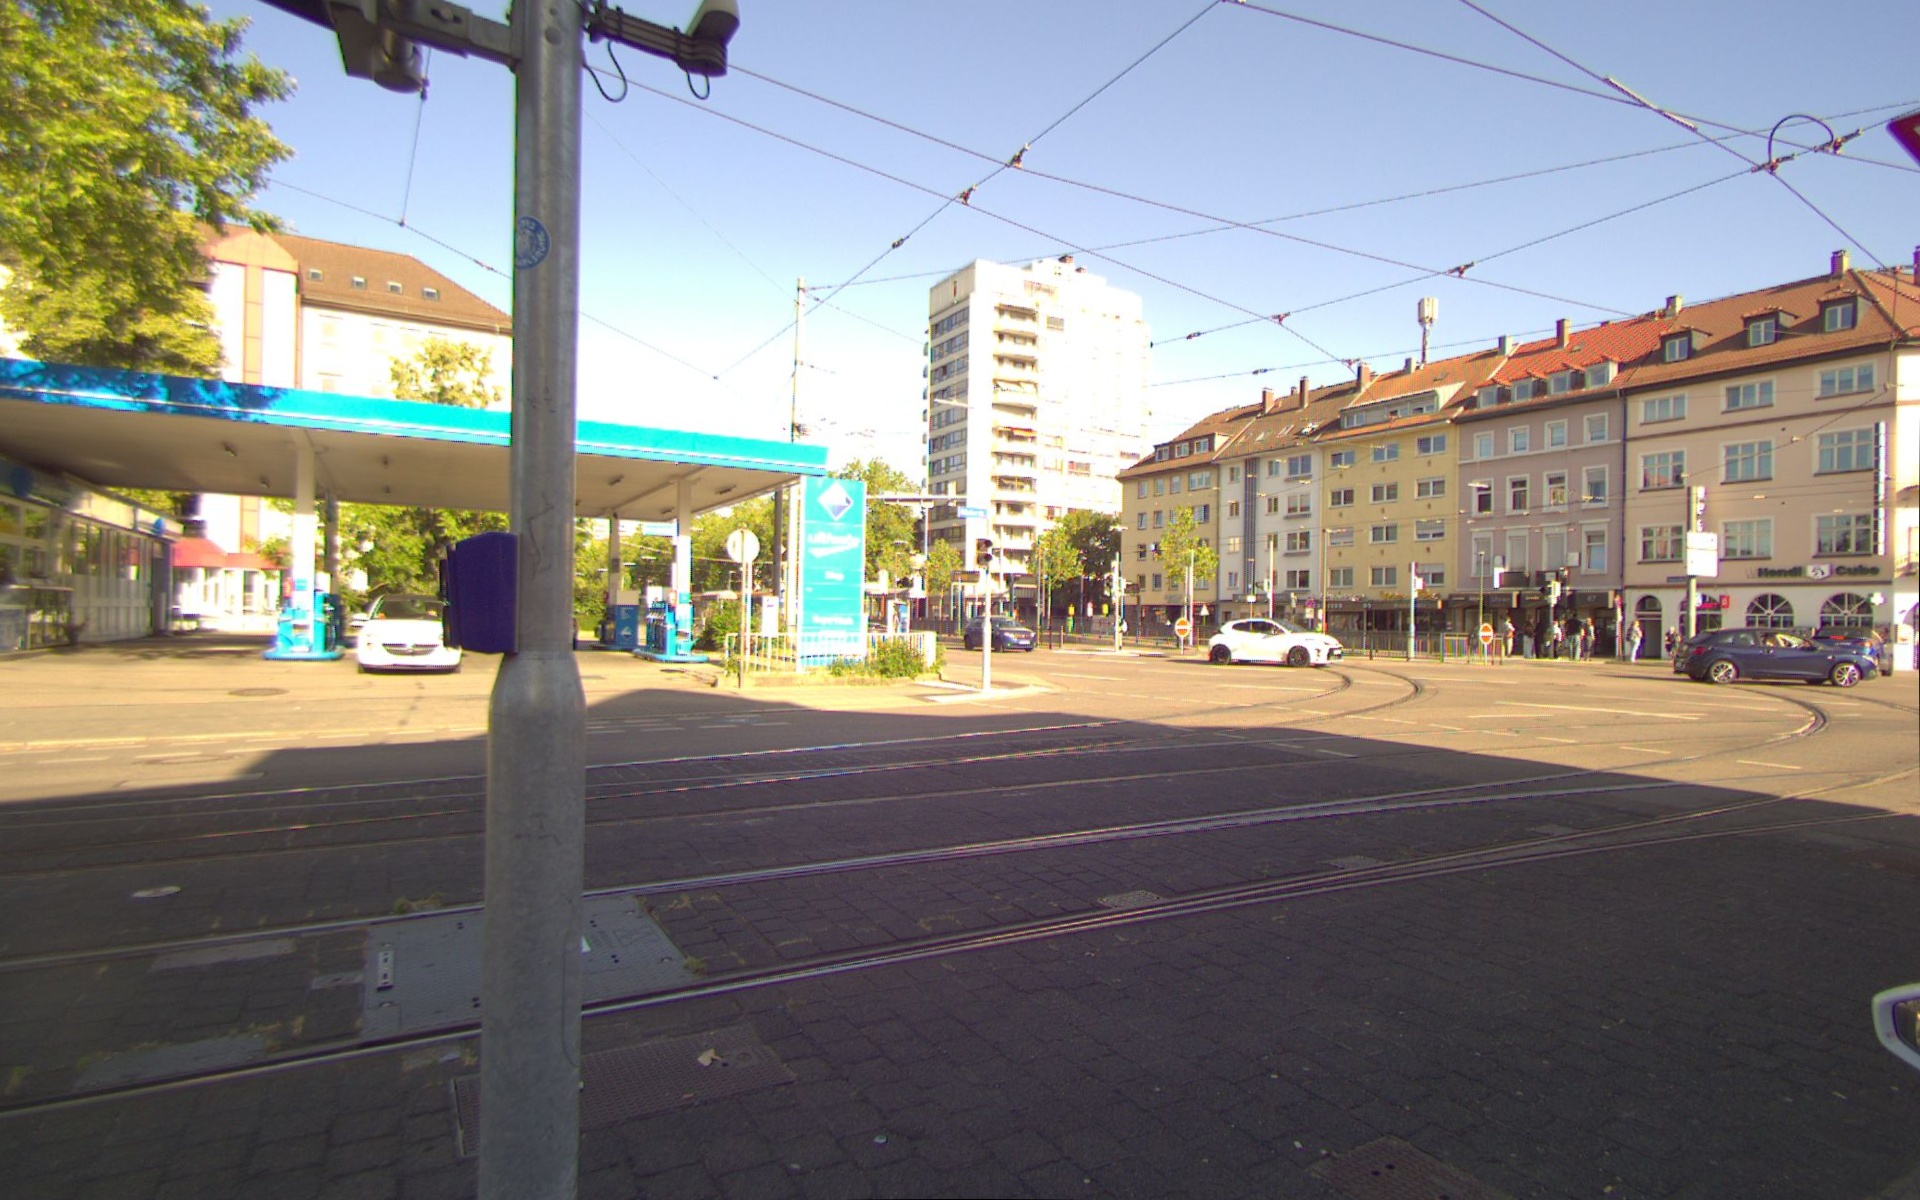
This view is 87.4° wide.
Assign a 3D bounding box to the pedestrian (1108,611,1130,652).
[{"bbox_3d":[6.443,1.264,40.702,0.750,1.631,0.613,2,0,15],"label":"pedestrian"}]

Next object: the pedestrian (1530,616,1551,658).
[{"bbox_3d":[23.783,1.519,41.138,0.492,1.670,0.520,2,0,-30],"label":"pedestrian"}]

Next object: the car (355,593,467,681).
[{"bbox_3d":[-10.702,0.651,19.612,1.723,1.455,3.905,2,1,-29],"label":"car"}]

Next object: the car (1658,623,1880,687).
[{"bbox_3d":[20.020,1.327,25.072,3.923,1.422,1.831,1,-1,23],"label":"car"}]

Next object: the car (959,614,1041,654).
[{"bbox_3d":[1.673,1.419,43.026,1.768,1.524,3.891,-3,1,-28],"label":"car"}]

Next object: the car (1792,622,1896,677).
[{"bbox_3d":[28.021,1.510,31.800,4.163,1.596,1.811,1,-1,-39],"label":"car"}]

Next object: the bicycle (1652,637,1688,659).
[{"bbox_3d":[34.126,2.309,48.295,1.731,1.044,0.619,2,0,-25],"label":"bicycle"}]

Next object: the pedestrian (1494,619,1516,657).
[{"bbox_3d":[23.920,1.670,44.085,0.609,1.670,0.581,2,0,-30],"label":"pedestrian"}]

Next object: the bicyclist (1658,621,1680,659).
[{"bbox_3d":[34.062,1.920,48.257,0.606,1.814,0.619,2,0,-25],"label":"bicyclist"}]

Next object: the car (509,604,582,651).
[{"bbox_3d":[-13.512,0.864,32.645,1.659,1.372,3.559,2,0,-31],"label":"car"}]

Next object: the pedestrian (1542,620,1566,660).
[{"bbox_3d":[25.114,1.705,42.475,0.719,1.670,0.570,2,0,-30],"label":"pedestrian"}]

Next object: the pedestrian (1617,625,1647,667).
[{"bbox_3d":[26.495,1.821,39.586,0.805,1.615,0.665,2,0,-30],"label":"pedestrian"}]

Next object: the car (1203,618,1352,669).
[{"bbox_3d":[9.663,1.280,30.726,3.953,1.473,1.887,-1,-1,43],"label":"car"}]

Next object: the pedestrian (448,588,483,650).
[{"bbox_3d":[-14.109,0.559,28.654,0.838,1.724,0.644,2,-3,-31],"label":"pedestrian"}]

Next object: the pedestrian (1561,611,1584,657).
[{"bbox_3d":[24.755,1.385,40.591,0.669,1.847,0.524,2,0,-30],"label":"pedestrian"}]

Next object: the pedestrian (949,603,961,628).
[{"bbox_3d":[-0.416,1.343,85.550,0.729,2.127,0.880,2,0,-21],"label":"pedestrian"}]

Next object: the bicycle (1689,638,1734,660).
[{"bbox_3d":[37.841,2.471,50.596,0.603,0.996,1.693,2,0,-29],"label":"bicycle"}]

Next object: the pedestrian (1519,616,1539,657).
[{"bbox_3d":[23.666,1.518,41.784,0.492,1.670,0.520,2,0,-30],"label":"pedestrian"}]

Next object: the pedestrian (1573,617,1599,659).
[{"bbox_3d":[25.601,1.542,41.083,0.831,1.670,0.579,2,0,-30],"label":"pedestrian"}]
